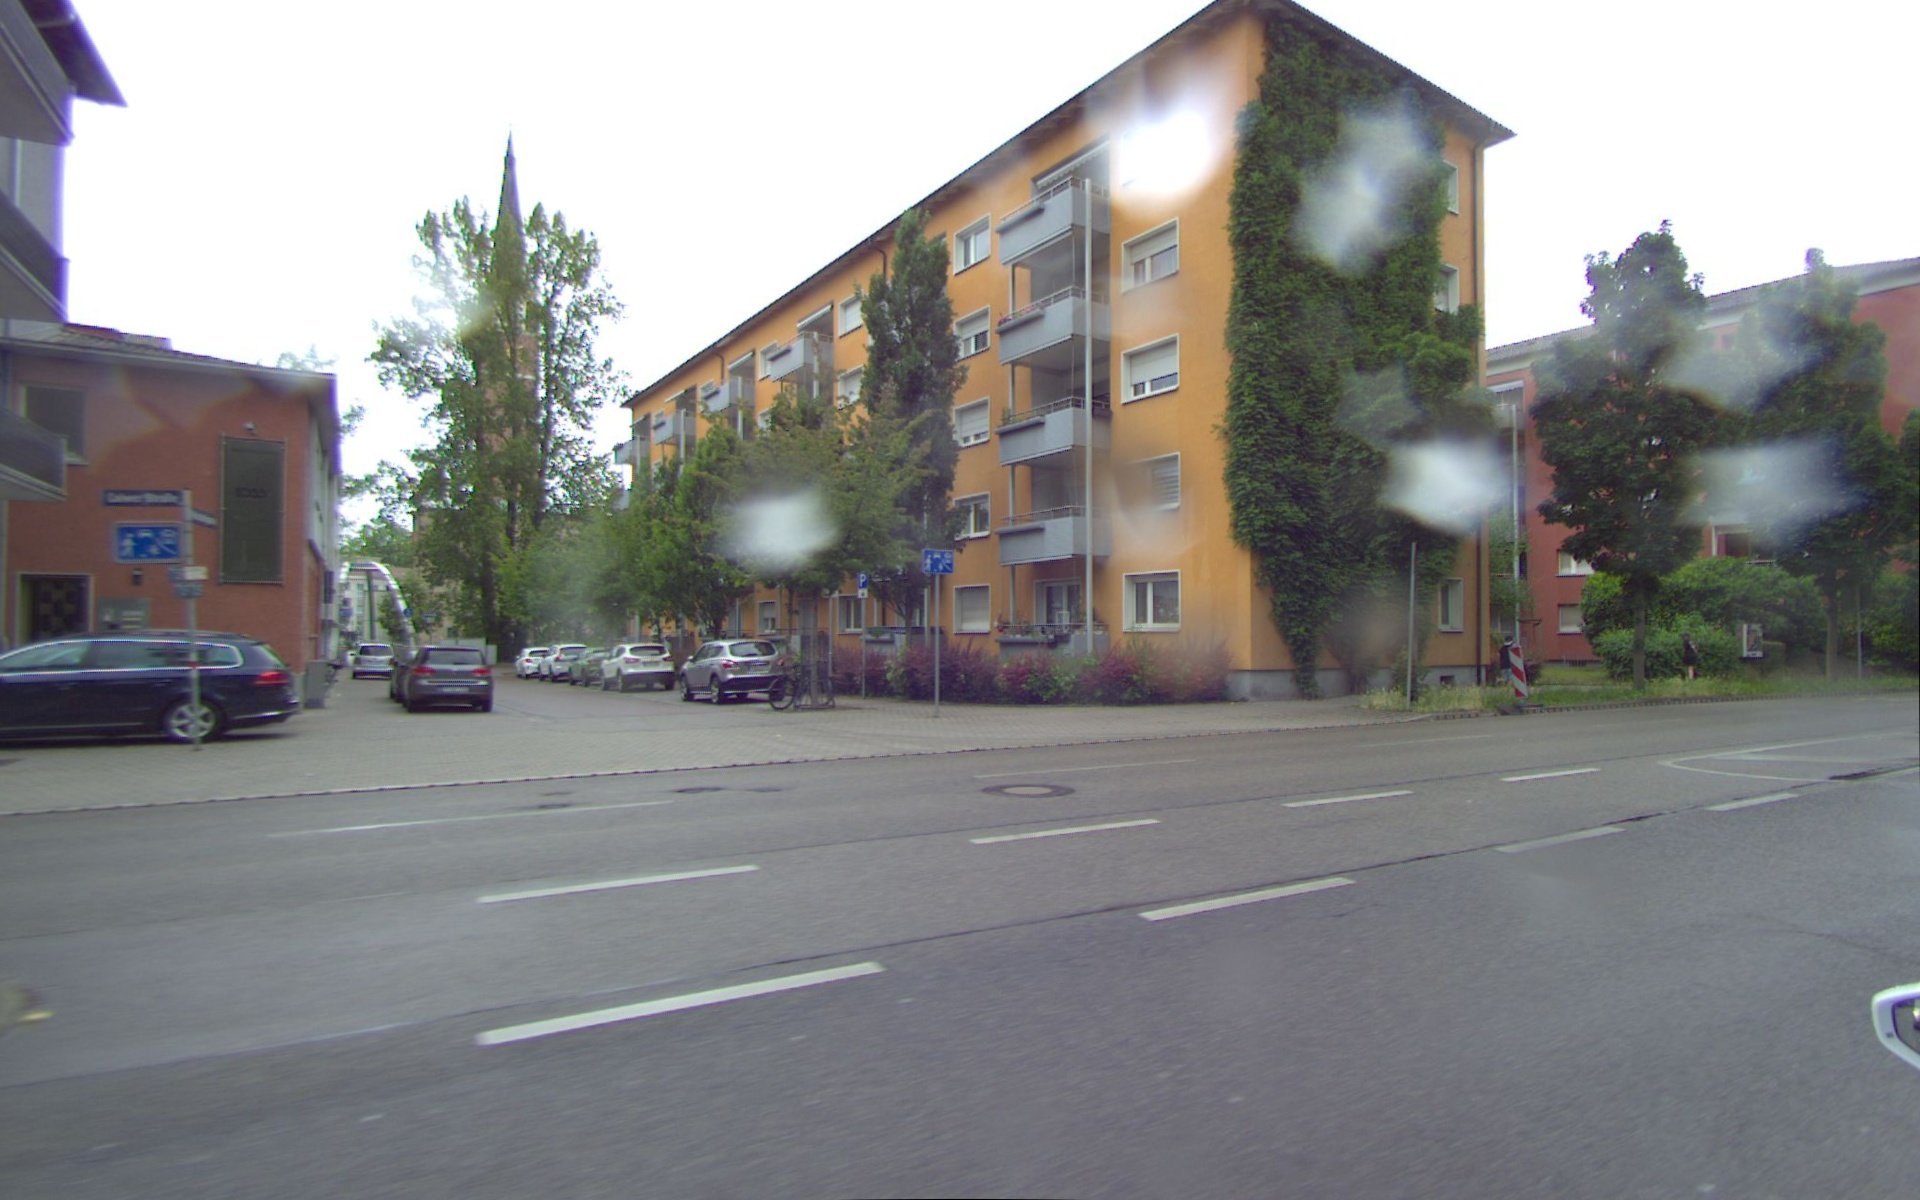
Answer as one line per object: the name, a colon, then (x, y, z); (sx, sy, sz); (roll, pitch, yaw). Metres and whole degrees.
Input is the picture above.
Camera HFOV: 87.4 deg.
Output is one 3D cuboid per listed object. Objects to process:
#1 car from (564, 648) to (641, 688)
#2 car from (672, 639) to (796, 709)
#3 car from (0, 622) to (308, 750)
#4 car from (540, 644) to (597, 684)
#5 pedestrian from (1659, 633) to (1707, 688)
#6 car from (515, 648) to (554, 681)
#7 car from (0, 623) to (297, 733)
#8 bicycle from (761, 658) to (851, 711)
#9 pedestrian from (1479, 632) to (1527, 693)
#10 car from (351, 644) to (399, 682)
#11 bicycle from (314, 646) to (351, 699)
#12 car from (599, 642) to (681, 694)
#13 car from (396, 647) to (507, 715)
car: (-14.230, 2.674, 39.872); (1.979, 1.494, 3.964); (1, -3, -33)
car: (-5.975, 1.883, 26.225); (1.882, 1.613, 3.964); (0, -2, -33)
car: (-11.517, 1.099, 13.410); (4.581, 1.505, 1.842); (2, -1, -31)
car: (-17.712, 2.859, 45.403); (1.766, 1.737, 3.673); (1, -3, -32)
pedestrian: (20.580, 1.720, 28.582); (1.056, 1.537, 0.689); (1, -3, -29)
car: (-21.280, 3.192, 50.223); (1.228, 1.617, 3.093); (2, -3, -34)
car: (-12.914, 1.176, 15.636); (4.180, 1.545, 1.722); (2, -3, -31)
bicycle: (-3.290, 1.796, 21.576); (1.919, 1.072, 0.526); (2, -3, -39)
pedestrian: (13.243, 1.518, 24.484); (0.825, 1.468, 0.668); (1, -3, -29)
car: (-27.264, 2.923, 46.757); (1.831, 1.683, 3.819); (2, -3, -32)
bicycle: (-17.925, 2.041, 28.729); (0.852, 1.449, 2.736); (1, -3, -31)
car: (-11.063, 2.306, 34.550); (1.831, 1.683, 3.819); (2, -3, -32)
car: (-11.940, 1.863, 23.477); (1.885, 1.430, 3.965); (3, -4, -32)
